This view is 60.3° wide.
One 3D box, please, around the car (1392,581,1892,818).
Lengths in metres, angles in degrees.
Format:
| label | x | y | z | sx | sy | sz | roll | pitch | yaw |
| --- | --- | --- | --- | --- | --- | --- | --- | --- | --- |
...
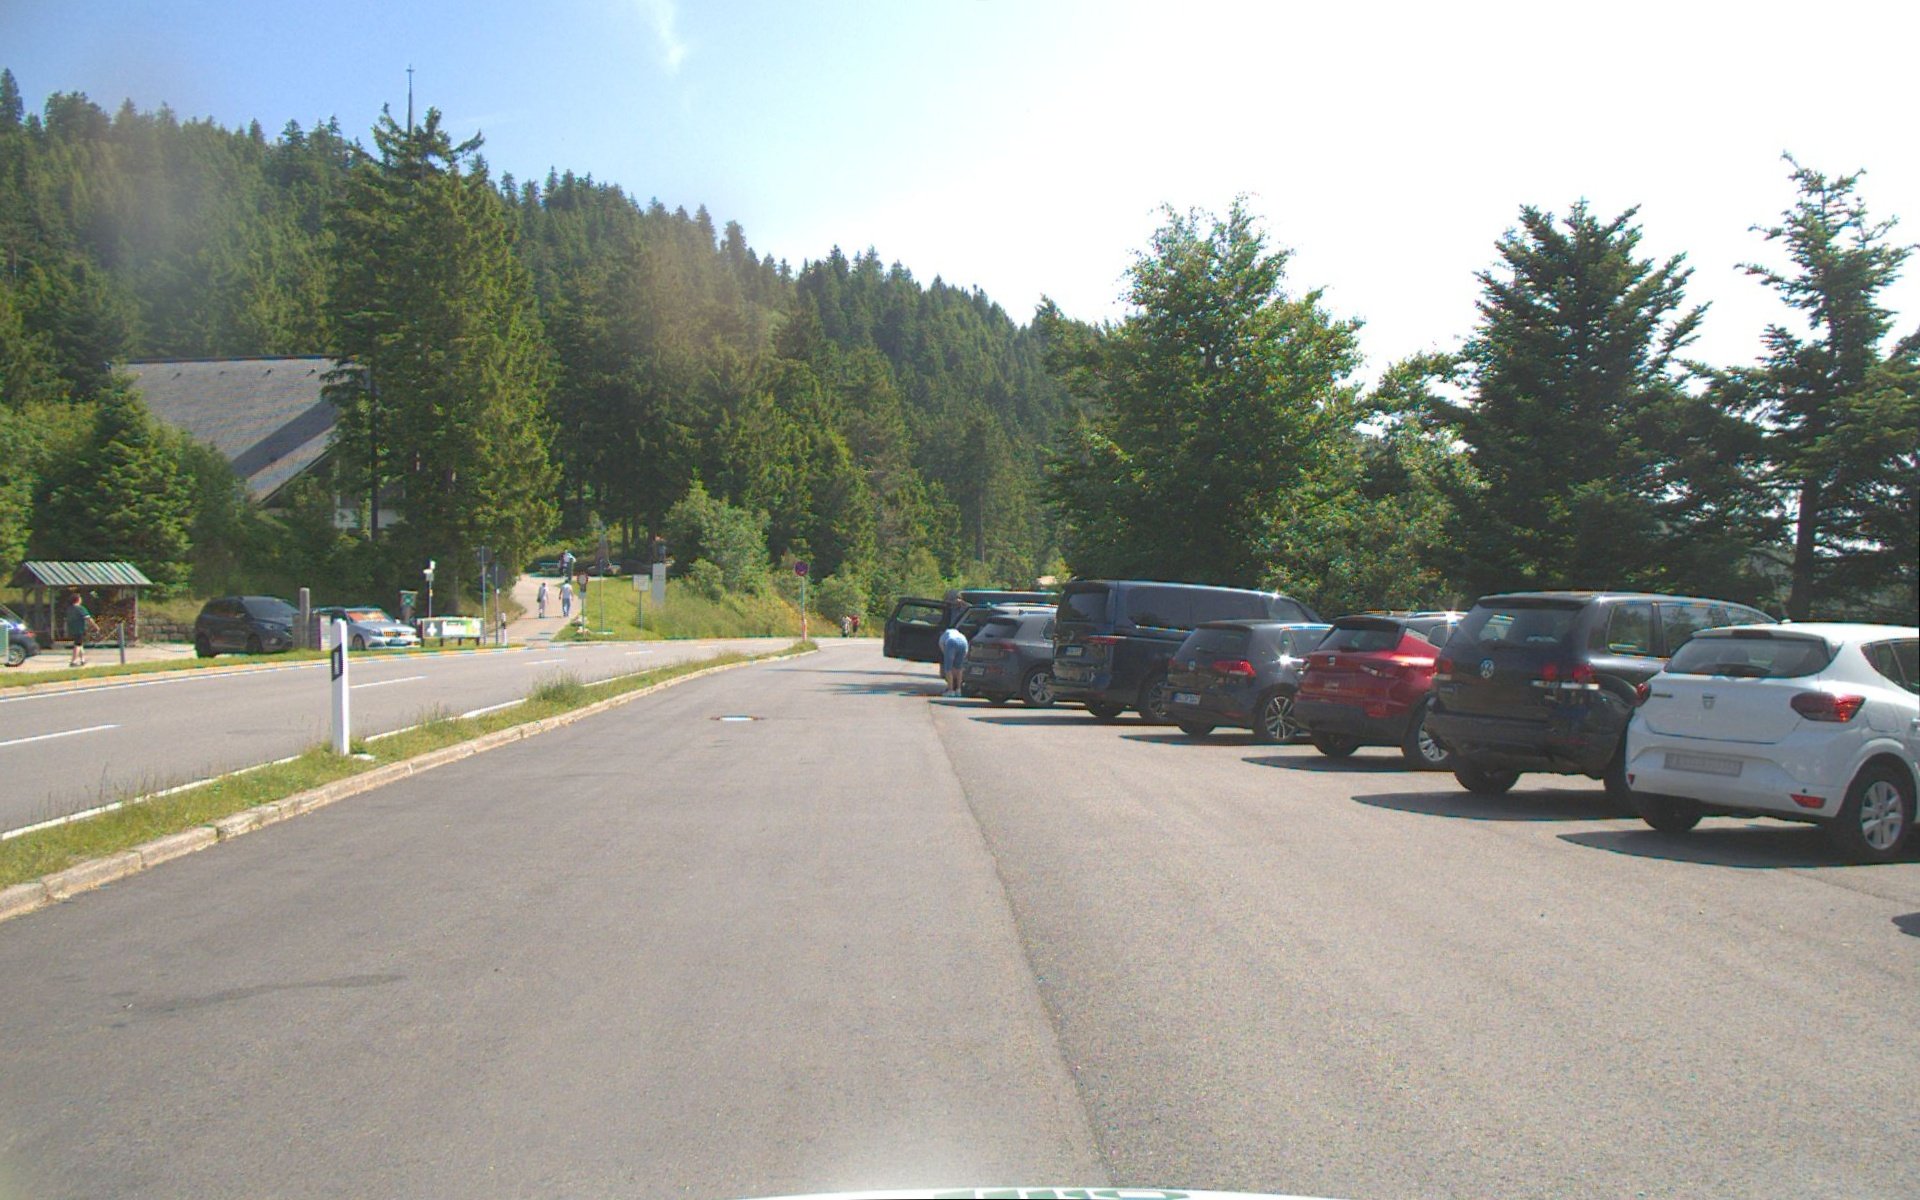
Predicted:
| label | x | y | z | sx | sy | sz | roll | pitch | yaw |
| --- | --- | --- | --- | --- | --- | --- | --- | --- | --- |
| car | 5.903 | 0.795 | 14.163 | 4.223 | 1.724 | 1.967 | 3 | 0 | -35 |

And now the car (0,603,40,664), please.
| label | x | y | z | sx | sy | sz | roll | pitch | yaw |
| --- | --- | --- | --- | --- | --- | --- | --- | --- | --- |
| car | -27.530 | 0.959 | 45.029 | 1.967 | 1.646 | 3.972 | 0 | 2 | 45 |

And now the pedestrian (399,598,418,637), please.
| label | x | y | z | sx | sy | sz | roll | pitch | yaw |
| --- | --- | --- | --- | --- | --- | --- | --- | --- | --- |
| pedestrian | -22.612 | 0.723 | 67.824 | 0.565 | 1.559 | 0.552 | -1 | 1 | -2 |

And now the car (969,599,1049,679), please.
| label | x | y | z | sx | sy | sz | roll | pitch | yaw |
| --- | --- | --- | --- | --- | --- | --- | --- | --- | --- |
| car | 1.301 | 1.055 | 46.249 | 1.867 | 2.007 | 4.818 | 4 | -1 | -1 |

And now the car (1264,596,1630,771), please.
| label | x | y | z | sx | sy | sz | roll | pitch | yaw |
| --- | --- | --- | --- | --- | --- | --- | --- | --- | --- |
| car | 5.257 | 0.855 | 17.641 | 3.961 | 1.617 | 1.837 | 3 | 0 | -40 |

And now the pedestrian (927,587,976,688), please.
| label | x | y | z | sx | sy | sz | roll | pitch | yaw |
| --- | --- | --- | --- | --- | --- | --- | --- | --- | --- |
| pedestrian | -0.151 | 0.672 | 29.969 | 0.572 | 1.791 | 0.627 | 3 | -1 | -30 |

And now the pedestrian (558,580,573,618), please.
| label | x | y | z | sx | sy | sz | roll | pitch | yaw |
| --- | --- | --- | --- | --- | --- | --- | --- | --- | --- |
| pedestrian | -19.162 | -0.058 | 80.407 | 0.640 | 1.830 | 0.642 | 0 | 0 | -8 |

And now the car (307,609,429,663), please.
| label | x | y | z | sx | sy | sz | roll | pitch | yaw |
| --- | --- | --- | --- | --- | --- | --- | --- | --- | --- |
| car | -17.496 | 1.040 | 48.801 | 3.899 | 1.466 | 1.734 | -1 | 1 | 42 |

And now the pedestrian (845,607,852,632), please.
| label | x | y | z | sx | sy | sz | roll | pitch | yaw |
| --- | --- | --- | --- | --- | --- | --- | --- | --- | --- |
| pedestrian | -7.959 | 1.404 | 117.841 | 0.386 | 1.778 | 0.406 | 0 | 0 | 6 |

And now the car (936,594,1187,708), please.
| label | x | y | z | sx | sy | sz | roll | pitch | yaw |
| --- | --- | --- | --- | --- | --- | --- | --- | --- | --- |
| car | 1.809 | 0.899 | 29.260 | 3.944 | 1.691 | 1.981 | 5 | -2 | -30 |

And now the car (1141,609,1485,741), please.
| label | x | y | z | sx | sy | sz | roll | pitch | yaw |
| --- | --- | --- | --- | --- | --- | --- | --- | --- | --- |
| car | 4.332 | 0.918 | 20.177 | 3.943 | 1.439 | 1.728 | 3 | 0 | -29 |

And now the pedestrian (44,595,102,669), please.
| label | x | y | z | sx | sy | sz | roll | pitch | yaw |
| --- | --- | --- | --- | --- | --- | --- | --- | --- | --- |
| pedestrian | -21.971 | 0.787 | 40.964 | 0.878 | 1.764 | 0.960 | -1 | 1 | -2 |

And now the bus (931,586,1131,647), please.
| label | x | y | z | sx | sy | sz | roll | pitch | yaw |
| --- | --- | --- | --- | --- | --- | --- | --- | --- | --- |
| bus | 4.559 | 1.008 | 106.802 | 12.587 | 3.640 | 2.984 | 1 | 2 | 15 |

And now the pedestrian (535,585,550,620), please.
| label | x | y | z | sx | sy | sz | roll | pitch | yaw |
| --- | --- | --- | --- | --- | --- | --- | --- | --- | --- |
| pedestrian | -20.166 | 0.122 | 79.927 | 0.640 | 1.696 | 0.642 | -1 | -2 | -8 |

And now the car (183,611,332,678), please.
| label | x | y | z | sx | sy | sz | roll | pitch | yaw |
| --- | --- | --- | --- | --- | --- | --- | --- | --- | --- |
| car | -18.179 | 1.130 | 42.742 | 4.129 | 1.662 | 1.781 | -1 | -1 | 38 |

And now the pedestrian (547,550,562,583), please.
| label | x | y | z | sx | sy | sz | roll | pitch | yaw |
| --- | --- | --- | --- | --- | --- | --- | --- | --- | --- |
| pedestrian | -25.508 | -2.136 | 104.029 | 0.783 | 2.048 | 0.938 | -1 | 1 | -10 |

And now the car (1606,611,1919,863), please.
| label | x | y | z | sx | sy | sz | roll | pitch | yaw |
| --- | --- | --- | --- | --- | --- | --- | --- | --- | --- |
| car | 6.572 | 0.905 | 11.867 | 3.954 | 1.502 | 1.746 | 3 | -1 | -36 |

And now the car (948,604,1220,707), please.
| label | x | y | z | sx | sy | sz | roll | pitch | yaw |
| --- | --- | --- | --- | --- | --- | --- | --- | --- | --- |
| car | 1.980 | 0.881 | 26.490 | 3.933 | 1.468 | 1.827 | 2 | 0 | -23 |

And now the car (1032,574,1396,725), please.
| label | x | y | z | sx | sy | sz | roll | pitch | yaw |
| --- | --- | --- | --- | --- | --- | --- | --- | --- | --- |
| car | 3.573 | 0.703 | 23.315 | 4.689 | 1.913 | 1.954 | 2 | 0 | -21 |

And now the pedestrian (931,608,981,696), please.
| label | x | y | z | sx | sy | sz | roll | pitch | yaw |
| --- | --- | --- | --- | --- | --- | --- | --- | --- | --- |
| pedestrian | -0.067 | 0.868 | 27.696 | 0.757 | 1.427 | 0.669 | -1 | 1 | 4 |
